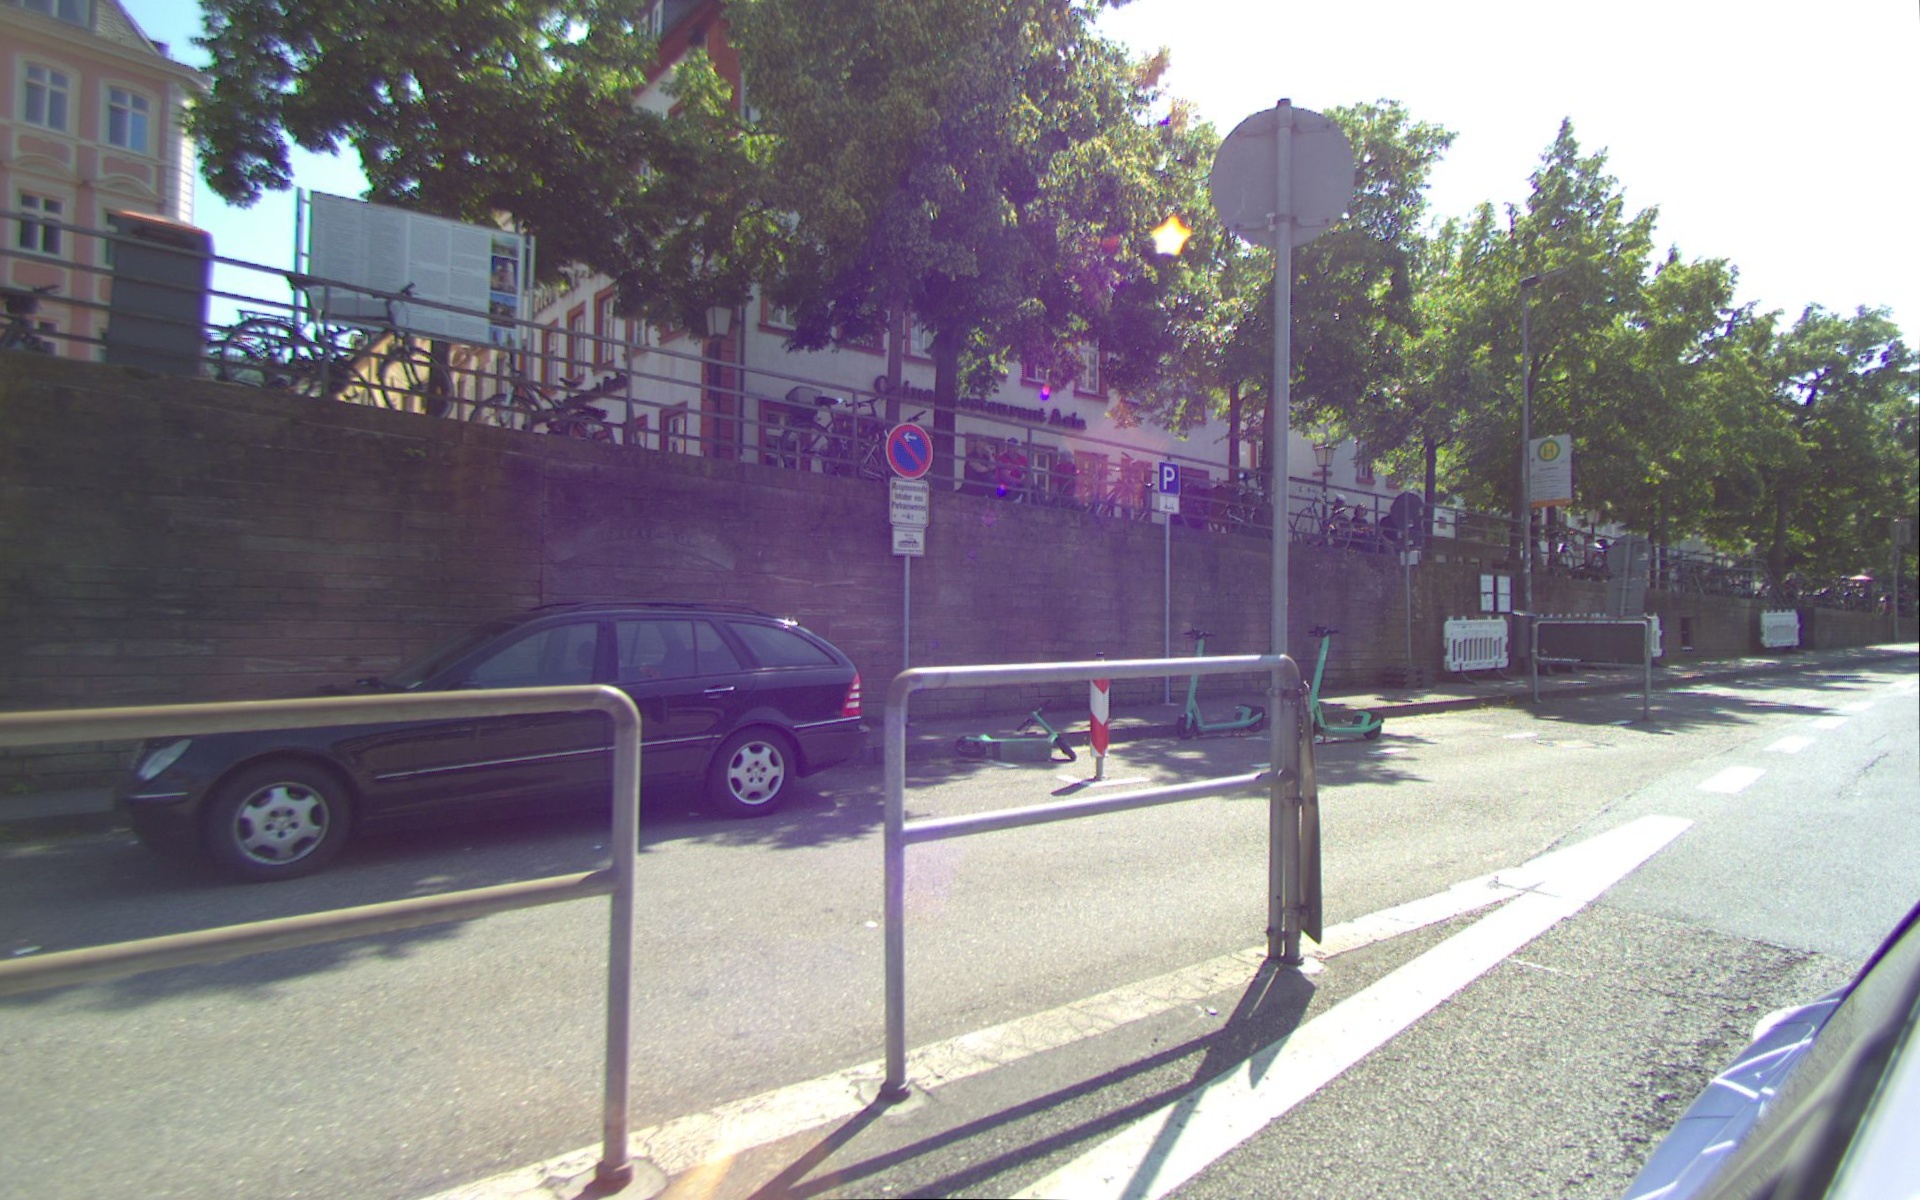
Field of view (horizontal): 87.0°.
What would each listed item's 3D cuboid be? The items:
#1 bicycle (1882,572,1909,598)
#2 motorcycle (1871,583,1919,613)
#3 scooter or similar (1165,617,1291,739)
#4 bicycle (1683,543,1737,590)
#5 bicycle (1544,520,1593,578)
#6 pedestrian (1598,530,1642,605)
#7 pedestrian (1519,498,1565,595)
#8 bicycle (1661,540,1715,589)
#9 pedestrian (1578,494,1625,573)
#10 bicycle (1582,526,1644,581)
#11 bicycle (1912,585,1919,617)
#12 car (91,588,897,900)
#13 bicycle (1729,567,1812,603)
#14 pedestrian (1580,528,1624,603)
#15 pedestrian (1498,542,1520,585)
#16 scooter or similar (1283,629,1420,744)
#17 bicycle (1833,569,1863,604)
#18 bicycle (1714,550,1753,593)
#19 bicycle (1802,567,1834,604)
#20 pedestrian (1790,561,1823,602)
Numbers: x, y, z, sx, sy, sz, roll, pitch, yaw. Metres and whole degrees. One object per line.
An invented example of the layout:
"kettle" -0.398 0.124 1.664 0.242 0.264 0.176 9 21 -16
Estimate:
"bicycle" 31.306 -0.495 33.864 1.883 0.794 0.350 1 -1 -38
"motorcycle" 35.652 -0.081 38.114 0.565 1.112 1.918 1 1 -42
"scooter or similar" 2.908 0.819 10.990 1.244 1.246 0.534 0 0 -21
"bicycle" 18.890 -0.829 25.478 1.885 1.120 0.411 1 -1 -31
"bicycle" 12.652 -1.045 21.015 1.705 1.120 0.410 1 0 -43
"pedestrian" 15.710 -0.754 24.078 0.562 1.743 0.721 1 -1 -35
"pedestrian" 13.694 -1.237 23.823 0.698 2.217 0.721 1 -1 -35
"bicycle" 17.589 -0.841 24.442 1.700 1.120 0.411 1 -1 -31
"pedestrian" 14.772 -1.514 23.308 0.698 1.743 0.721 1 -1 -35
"bicycle" 14.267 -0.996 22.088 1.700 1.120 0.411 1 0 -31
"bicycle" 34.548 0.053 36.134 1.881 1.126 0.345 1 -1 -31
"car" -2.799 0.691 6.817 4.448 1.468 1.848 0 -1 -35
"bicycle" 23.634 -0.432 29.544 0.293 1.017 1.859 2 -1 -37
"pedestrian" 15.128 -0.801 23.841 0.562 1.743 0.721 1 -1 -35
"pedestrian" 20.632 -1.372 38.056 0.596 1.565 0.469 1 -3 -35
"scooter or similar" 4.108 0.875 10.601 1.409 1.103 0.534 0 0 -26
"bicycle" 27.049 -0.399 30.827 1.905 1.017 0.299 2 -1 -37
"bicycle" 22.096 -0.808 28.912 1.897 1.155 0.383 2 -1 -37
"bicycle" 25.238 -0.416 29.759 1.825 1.017 0.299 2 -1 -37
"pedestrian" 26.848 -0.584 32.097 0.657 1.281 0.696 1 -1 -39
